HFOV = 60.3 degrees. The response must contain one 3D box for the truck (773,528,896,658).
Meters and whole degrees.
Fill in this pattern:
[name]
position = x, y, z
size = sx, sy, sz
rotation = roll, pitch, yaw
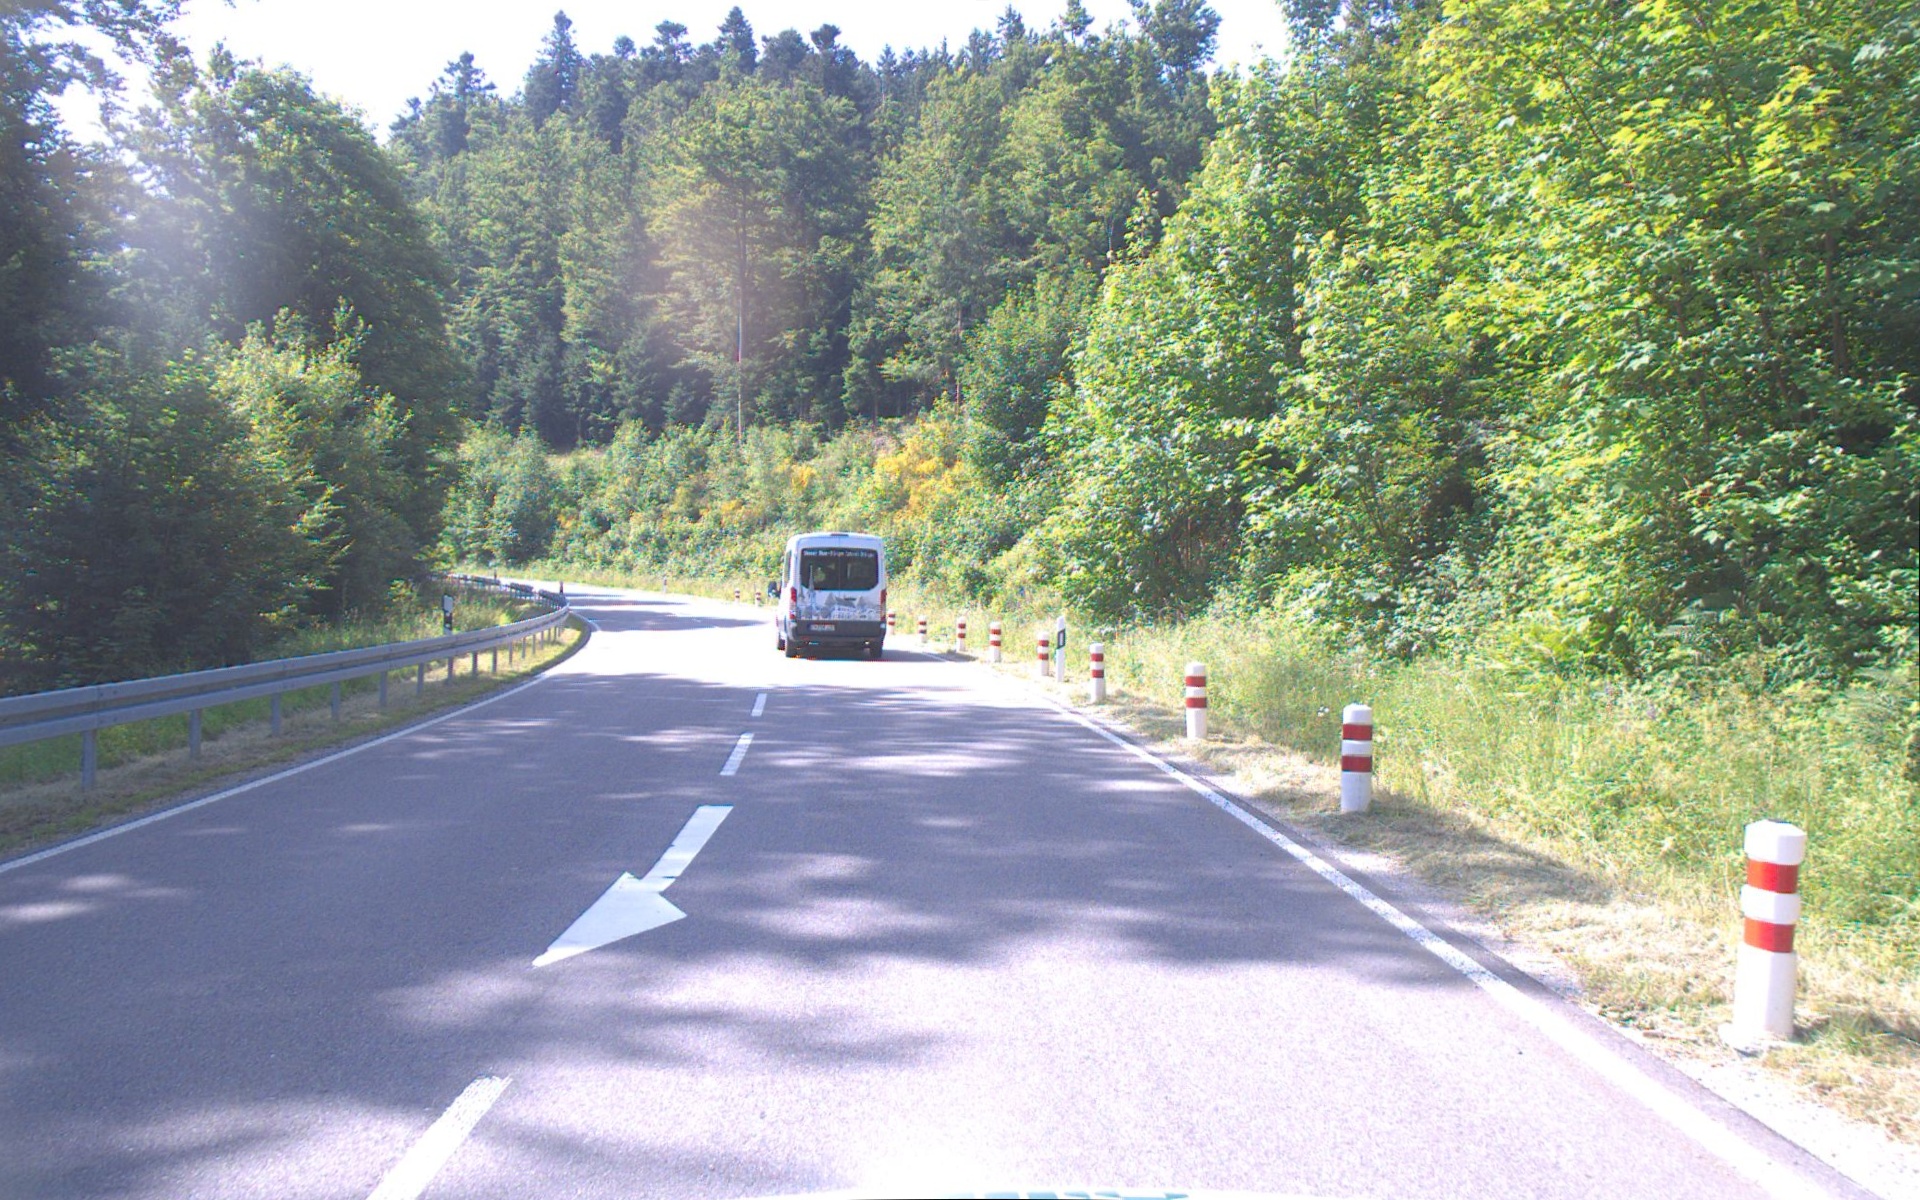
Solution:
[truck]
position = -2.747, -0.169, 35.038
size = 2.077, 2.542, 5.347
rotation = 0, 1, -10
